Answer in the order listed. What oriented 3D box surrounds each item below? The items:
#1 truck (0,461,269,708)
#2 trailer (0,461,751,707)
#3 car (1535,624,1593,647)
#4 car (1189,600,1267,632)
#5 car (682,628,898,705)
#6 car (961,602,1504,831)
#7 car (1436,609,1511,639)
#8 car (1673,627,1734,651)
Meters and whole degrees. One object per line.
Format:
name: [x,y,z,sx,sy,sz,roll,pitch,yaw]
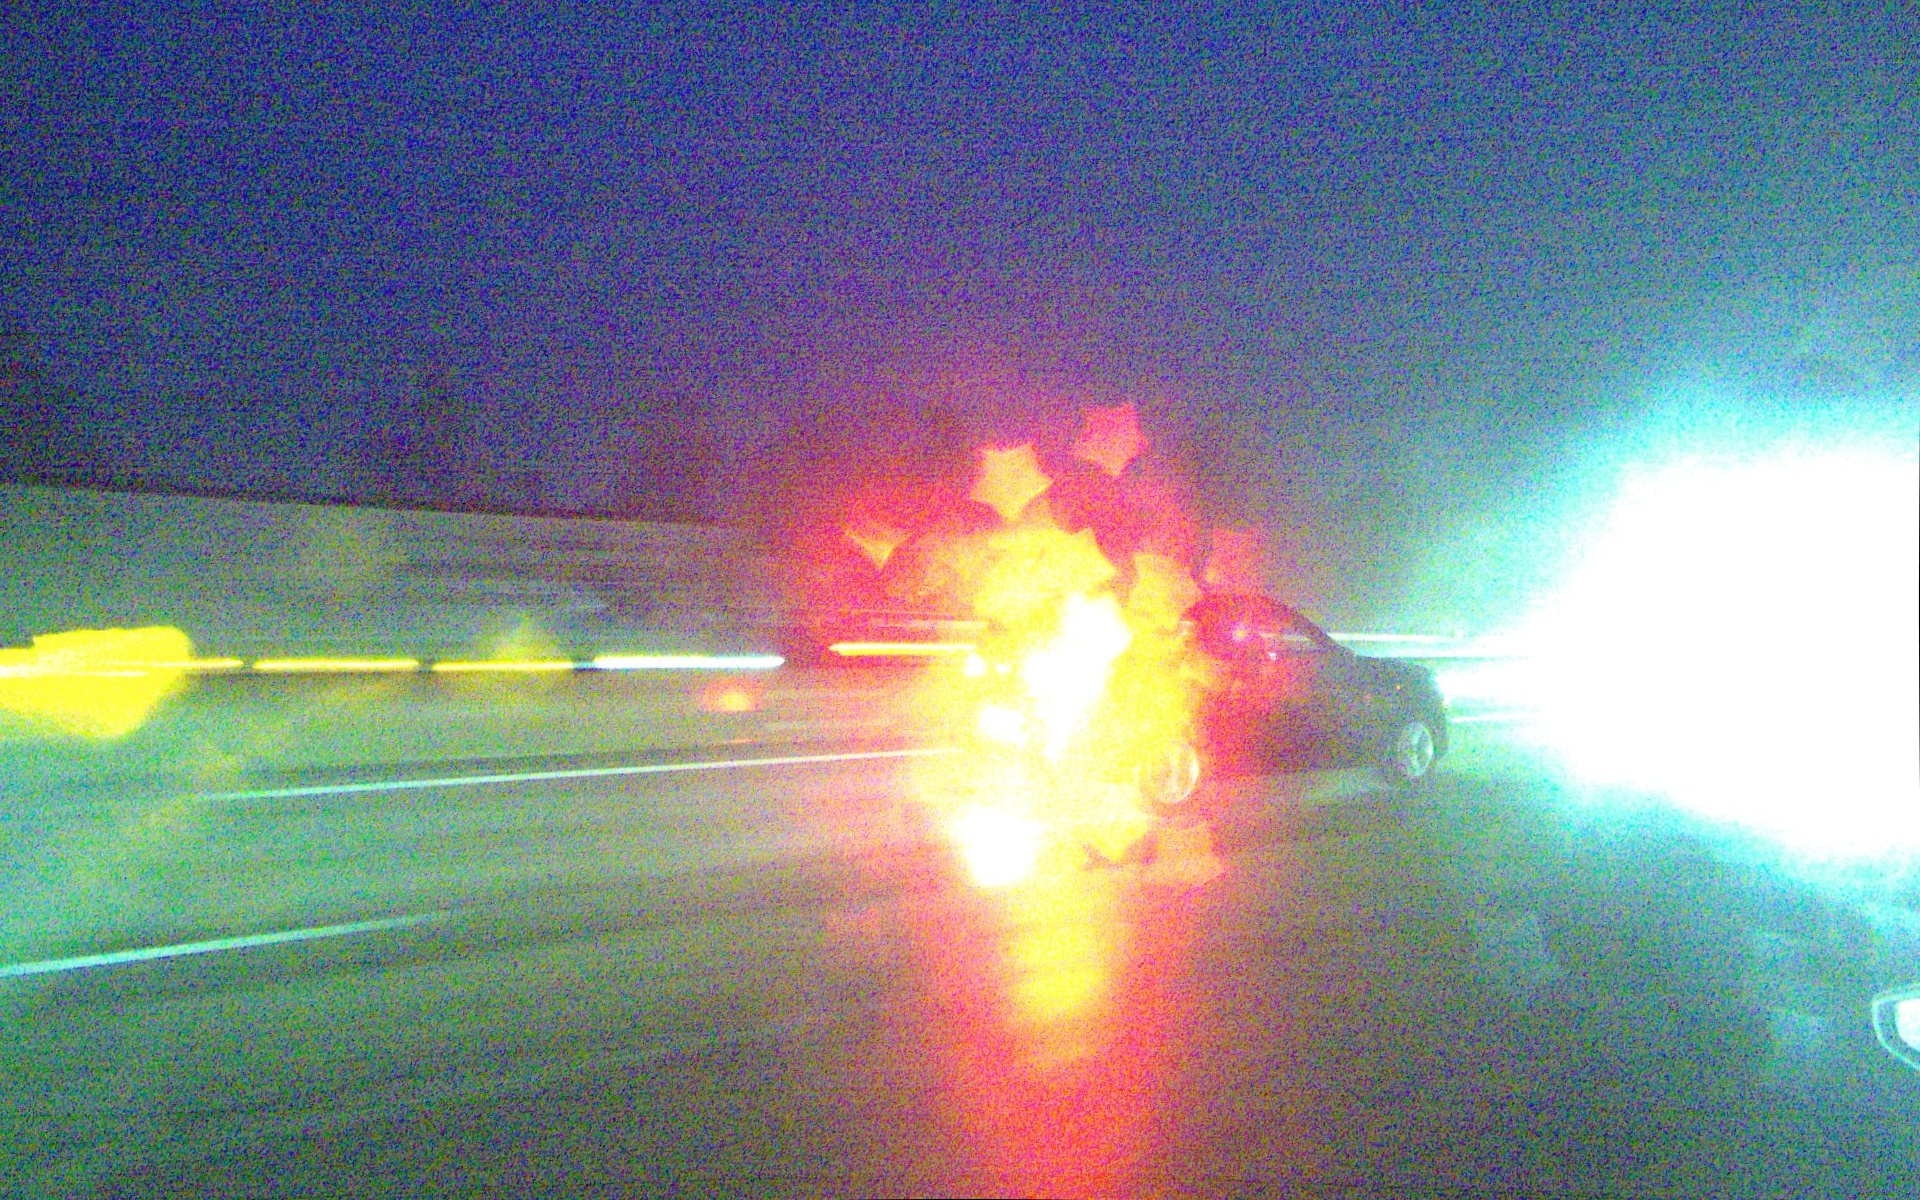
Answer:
truck: [-16.768,-0.199,17.589,7.264,4.057,2.800,3,-5,-30]
trailer: [-11.457,0.092,20.736,13.769,4.049,2.800,3,-5,-30]
car: [47.762,2.799,79.441,4.116,1.698,1.989,1,-1,-24]
car: [17.343,1.022,65.022,4.615,1.958,1.991,1,-1,-20]
car: [-3.153,1.277,18.773,3.656,1.316,1.608,3,-5,-29]
car: [2.500,0.856,8.838,4.694,1.561,1.850,2,-1,-30]
car: [35.241,1.656,68.990,4.615,1.958,1.991,1,-1,-20]
car: [58.567,3.074,79.112,4.507,1.795,1.988,1,-1,-25]
